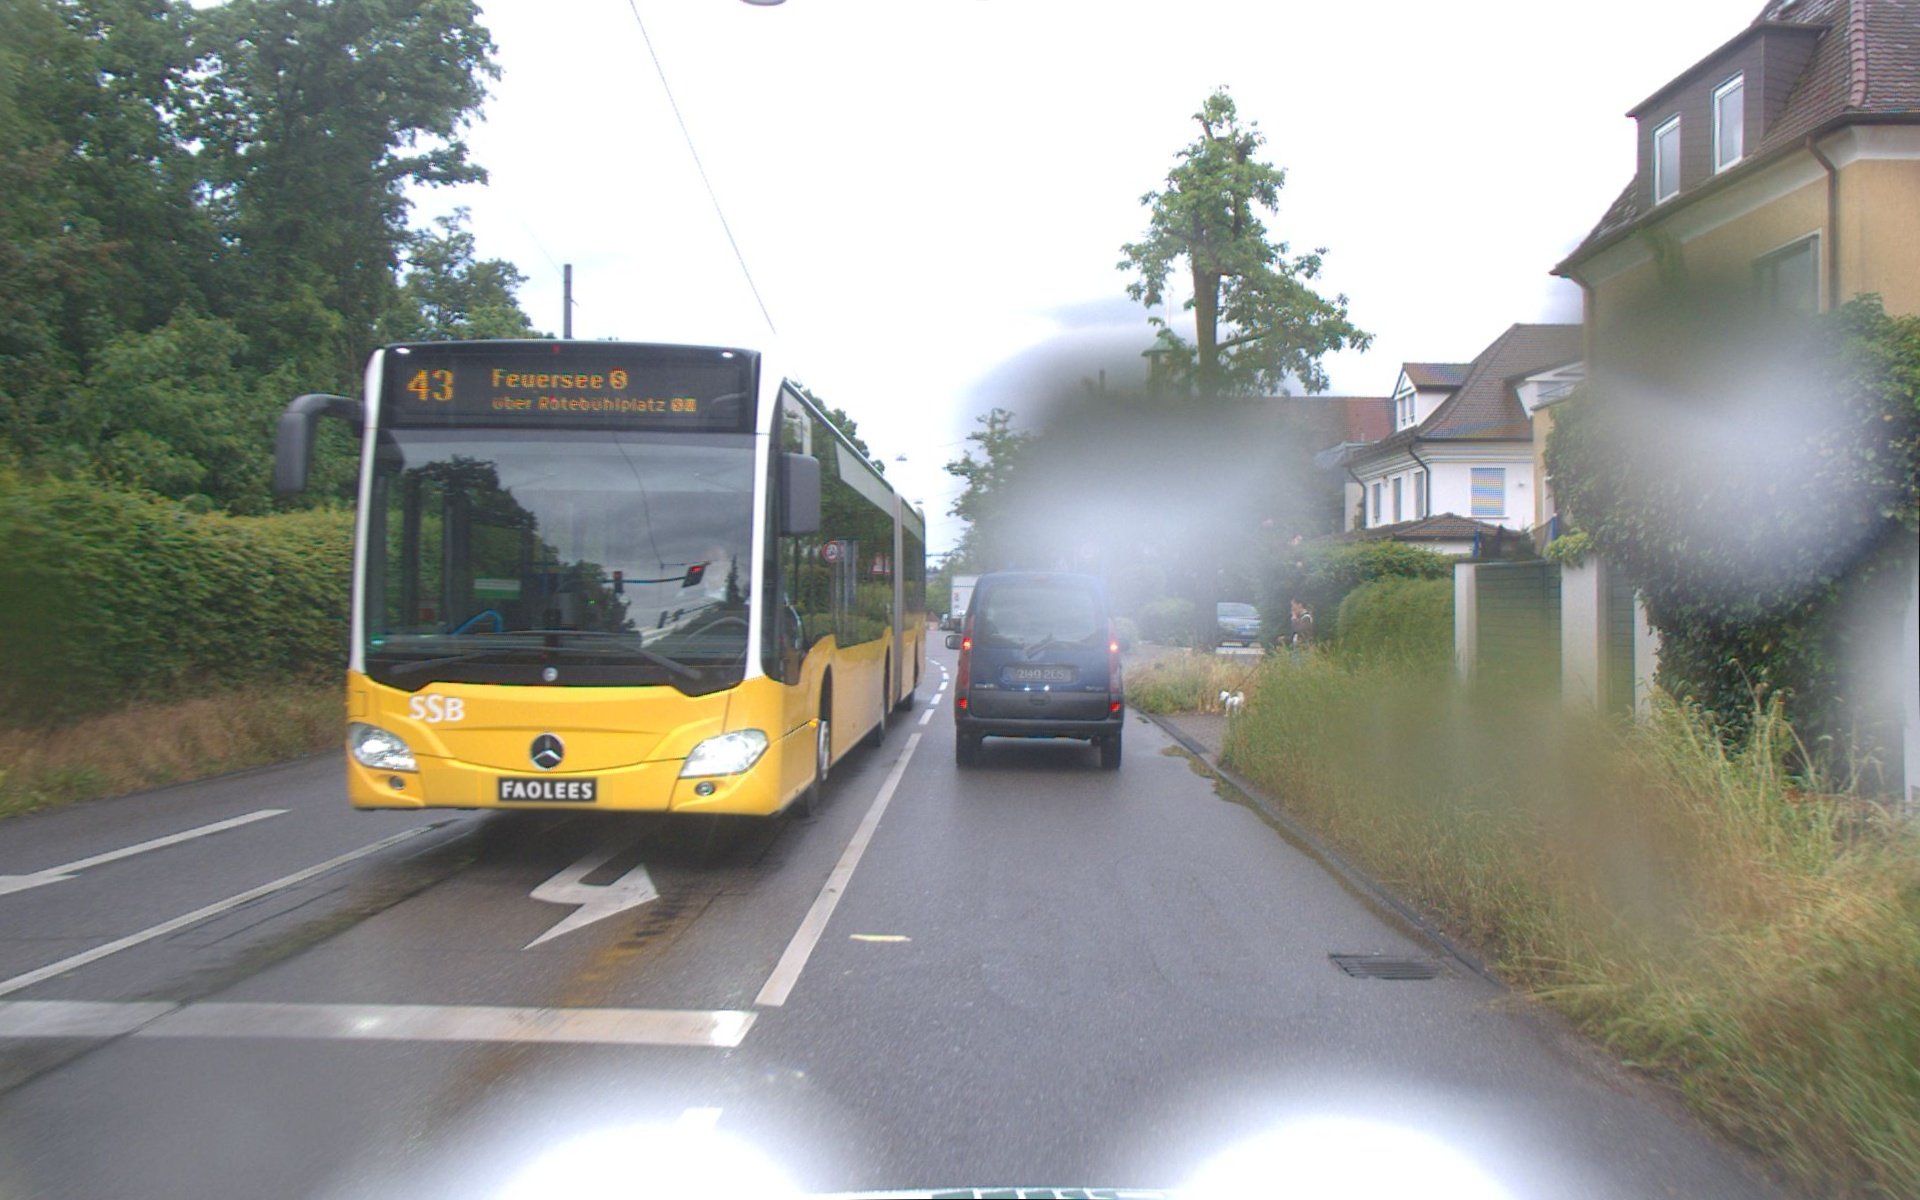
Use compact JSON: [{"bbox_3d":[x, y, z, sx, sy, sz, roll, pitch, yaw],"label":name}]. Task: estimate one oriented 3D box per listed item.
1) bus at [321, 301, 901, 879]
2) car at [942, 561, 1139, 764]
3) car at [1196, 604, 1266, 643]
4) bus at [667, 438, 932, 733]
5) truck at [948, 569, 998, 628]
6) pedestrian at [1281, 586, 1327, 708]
[{"bbox_3d":[-2.064,-0.041,13.620,2.589,3.098,9.231,1,0,1],"label":"bus"},{"bbox_3d":[0.744,0.569,16.903,1.771,1.829,4.000,0,0,0],"label":"car"},{"bbox_3d":[8.869,0.754,54.316,1.793,1.197,4.001,1,0,3],"label":"car"},{"bbox_3d":[-1.847,-0.147,22.590,2.541,3.213,8.636,1,0,1],"label":"bus"},{"bbox_3d":[0.739,-0.079,99.899,2.677,3.446,6.681,0,0,-3],"label":"truck"},{"bbox_3d":[4.483,0.611,21.549,0.472,1.561,0.439,1,0,-2],"label":"pedestrian"}]
